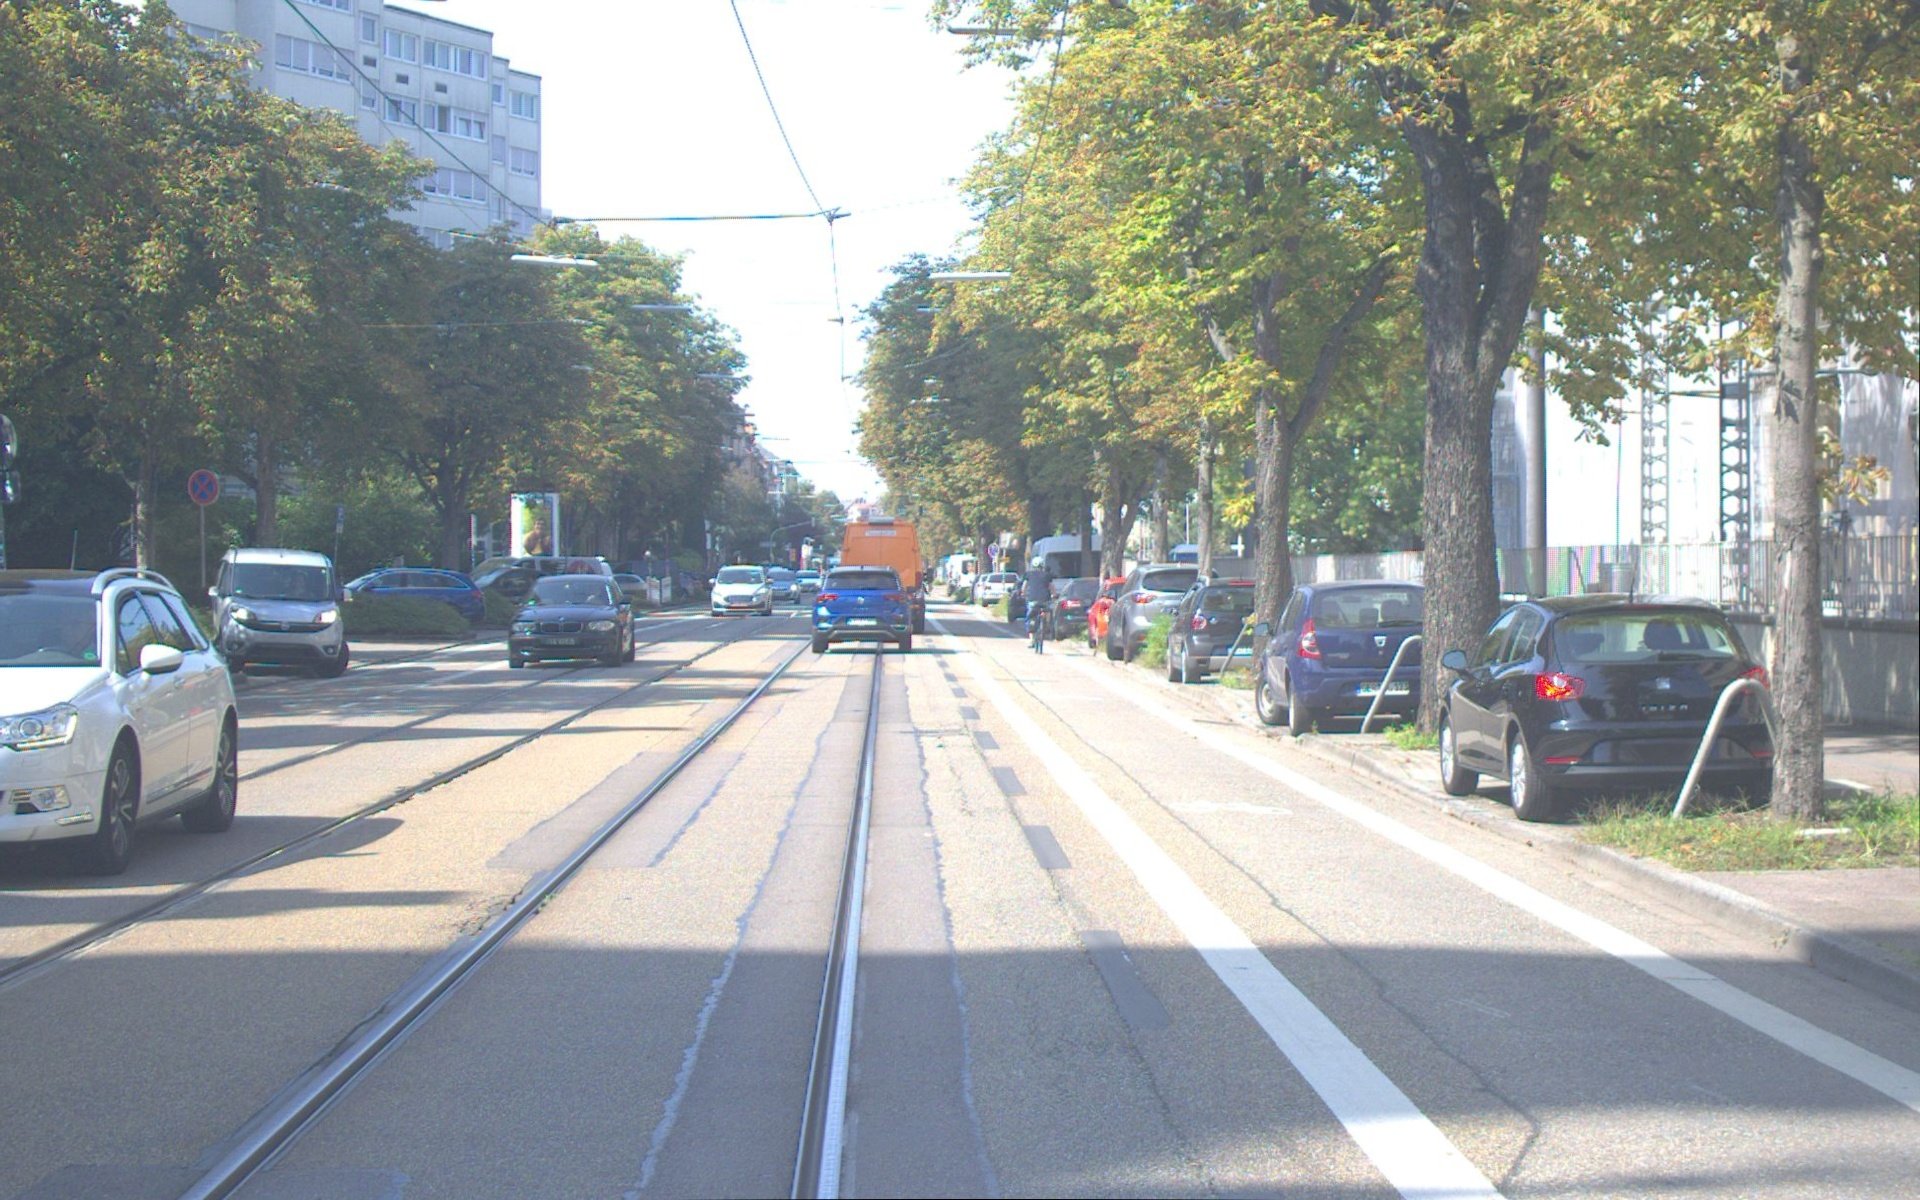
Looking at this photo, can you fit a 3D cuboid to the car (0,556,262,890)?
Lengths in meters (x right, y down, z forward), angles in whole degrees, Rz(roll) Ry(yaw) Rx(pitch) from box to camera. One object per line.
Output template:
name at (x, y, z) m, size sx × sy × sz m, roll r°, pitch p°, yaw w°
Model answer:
car at (-5.072, 0.528, 18.052) m, size 1.847 × 1.486 × 4.867 m, roll 1°, pitch 1°, yaw 0°

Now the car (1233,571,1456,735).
car at (3.851, 0.489, 35.041) m, size 1.743 × 1.550 × 4.217 m, roll 0°, pitch 1°, yaw -1°

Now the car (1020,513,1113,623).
car at (2.725, -0.854, 89.330) m, size 1.993 × 2.746 × 5.762 m, roll 1°, pitch 1°, yaw -2°

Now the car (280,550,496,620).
car at (-13.302, -0.348, 79.963) m, size 4.568 × 1.547 × 2.000 m, roll 1°, pitch 1°, yaw -24°

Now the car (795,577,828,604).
car at (-8.826, -0.570, 204.054) m, size 1.898 × 1.556 × 4.123 m, roll 1°, pitch 1°, yaw -2°

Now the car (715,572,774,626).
car at (-7.028, -0.046, 112.233) m, size 1.780 × 1.678 × 4.348 m, roll 1°, pitch 1°, yaw -2°

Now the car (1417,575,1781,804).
car at (4.257, 0.542, 23.493) m, size 1.659 × 1.403 × 4.217 m, roll 0°, pitch 1°, yaw -1°

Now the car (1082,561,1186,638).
car at (3.441, -0.024, 68.611) m, size 1.740 × 1.457 × 3.684 m, roll 1°, pitch 1°, yaw -2°

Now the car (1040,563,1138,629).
car at (2.928, -0.102, 78.746) m, size 1.908 × 1.427 × 4.293 m, roll 1°, pitch 1°, yaw -2°

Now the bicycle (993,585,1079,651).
bicycle at (1.367, 0.305, 62.975) m, size 1.401 × 1.130 × 4.000 m, roll 0°, pitch 1°, yaw -1°

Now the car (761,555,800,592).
car at (-7.804, -1.159, 149.639) m, size 1.633 × 1.579 × 4.189 m, roll 1°, pitch 1°, yaw -2°

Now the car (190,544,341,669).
car at (-10.538, 0.067, 52.001) m, size 1.746 × 1.790 × 4.001 m, roll 1°, pitch 1°, yaw -18°

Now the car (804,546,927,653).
car at (-1.691, -0.054, 62.619) m, size 2.135 × 1.852 × 5.568 m, roll 0°, pitch 1°, yaw -1°

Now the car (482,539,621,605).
car at (-12.781, -0.882, 107.781) m, size 3.989 × 2.007 × 1.856 m, roll 0°, pitch 1°, yaw -44°

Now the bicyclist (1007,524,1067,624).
bicyclist at (1.411, -0.483, 62.964) m, size 1.031 × 1.806 × 1.016 m, roll 1°, pitch 1°, yaw -1°

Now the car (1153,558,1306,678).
car at (3.728, 0.219, 48.137) m, size 1.633 × 1.579 × 4.189 m, roll 1°, pitch 1°, yaw -2°

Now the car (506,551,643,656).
car at (-6.019, 0.023, 54.043) m, size 1.681 × 1.566 × 4.206 m, roll 1°, pitch 1°, yaw 0°

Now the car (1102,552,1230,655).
car at (3.452, 0.026, 58.228) m, size 1.740 × 1.662 × 4.362 m, roll 1°, pitch 1°, yaw -2°

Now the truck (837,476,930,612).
truck at (-1.805, -1.334, 82.070) m, size 2.135 × 3.113 × 6.085 m, roll 0°, pitch 1°, yaw -1°
